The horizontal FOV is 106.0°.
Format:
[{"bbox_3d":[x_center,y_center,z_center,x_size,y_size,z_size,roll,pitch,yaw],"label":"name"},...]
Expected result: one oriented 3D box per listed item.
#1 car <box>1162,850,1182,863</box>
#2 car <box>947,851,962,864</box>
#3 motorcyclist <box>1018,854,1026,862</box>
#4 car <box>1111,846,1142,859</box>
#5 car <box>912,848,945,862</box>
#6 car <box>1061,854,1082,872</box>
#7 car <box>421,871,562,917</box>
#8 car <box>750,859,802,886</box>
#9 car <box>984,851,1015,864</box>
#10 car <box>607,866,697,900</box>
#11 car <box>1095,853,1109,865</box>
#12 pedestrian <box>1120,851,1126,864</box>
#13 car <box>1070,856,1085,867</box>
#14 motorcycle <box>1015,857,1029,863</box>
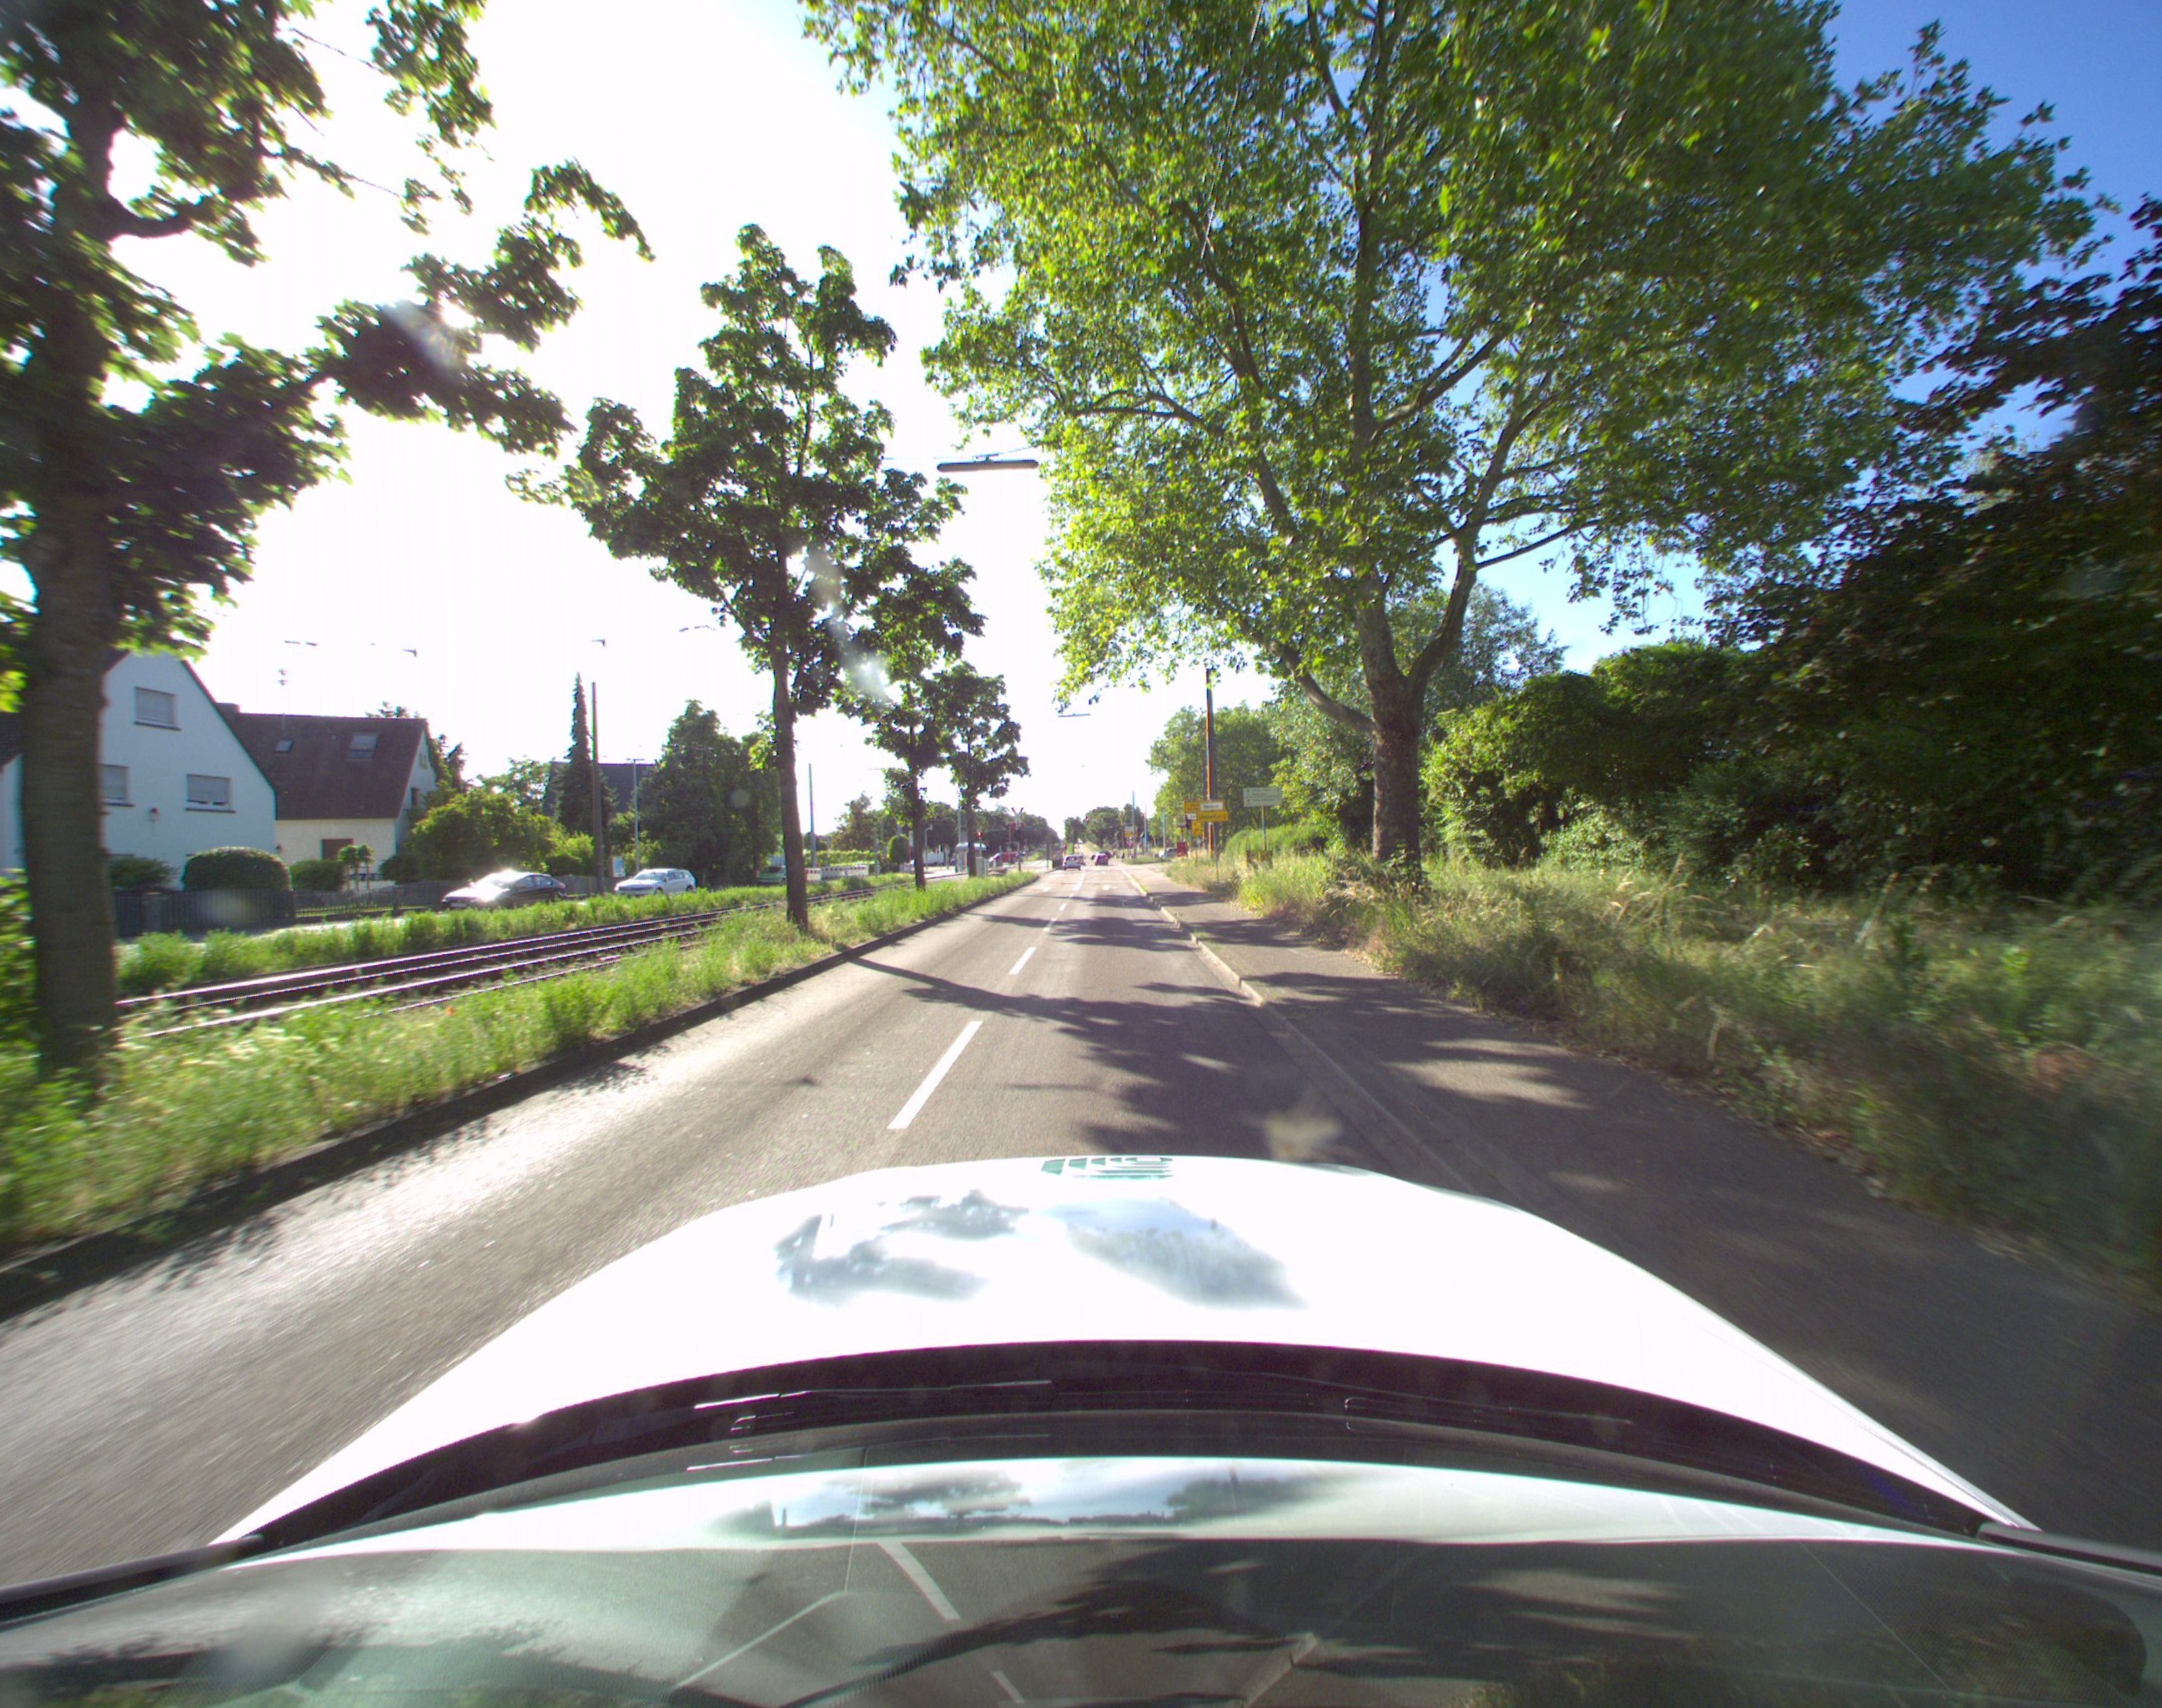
[{"bbox_3d":[11.605,0.296,103.651,1.845,1.601,4.247,-1,0,17],"label":"car"},{"bbox_3d":[-23.215,0.690,149.569,2.083,2.354,5.256,0,0,-2],"label":"car"},{"bbox_3d":[-10.747,0.648,147.940,1.321,1.449,0.724,0,0,-25],"label":"motorcyclist"},{"bbox_3d":[8.188,-0.344,146.702,5.170,2.275,1.986,0,0,-23],"label":"car"},{"bbox_3d":[-26.365,0.111,140.875,5.265,2.354,1.852,0,0,-23],"label":"car"},{"bbox_3d":[-0.869,0.826,77.666,1.853,1.601,4.229,0,0,1],"label":"car"},{"bbox_3d":[-20.511,1.357,28.597,1.853,1.413,4.159,0,0,1],"label":"car"},{"bbox_3d":[-20.048,1.188,53.715,1.771,1.707,4.229,0,0,1],"label":"car"},{"bbox_3d":[-14.203,0.646,142.067,5.170,2.275,1.986,0,0,-23],"label":"car"},{"bbox_3d":[-20.237,1.335,38.649,1.853,1.431,4.463,0,0,1],"label":"car"},{"bbox_3d":[2.779,0.707,108.344,1.785,1.559,4.229,0,0,1],"label":"car"},{"bbox_3d":[6.288,0.532,121.738,0.922,1.835,0.639,0,0,6],"label":"pedestrian"},{"bbox_3d":[-0.492,1.027,113.562,1.986,1.603,4.474,0,0,1],"label":"car"},{"bbox_3d":[-10.727,1.076,147.949,2.384,1.183,0.724,0,0,-25],"label":"motorcycle"}]
